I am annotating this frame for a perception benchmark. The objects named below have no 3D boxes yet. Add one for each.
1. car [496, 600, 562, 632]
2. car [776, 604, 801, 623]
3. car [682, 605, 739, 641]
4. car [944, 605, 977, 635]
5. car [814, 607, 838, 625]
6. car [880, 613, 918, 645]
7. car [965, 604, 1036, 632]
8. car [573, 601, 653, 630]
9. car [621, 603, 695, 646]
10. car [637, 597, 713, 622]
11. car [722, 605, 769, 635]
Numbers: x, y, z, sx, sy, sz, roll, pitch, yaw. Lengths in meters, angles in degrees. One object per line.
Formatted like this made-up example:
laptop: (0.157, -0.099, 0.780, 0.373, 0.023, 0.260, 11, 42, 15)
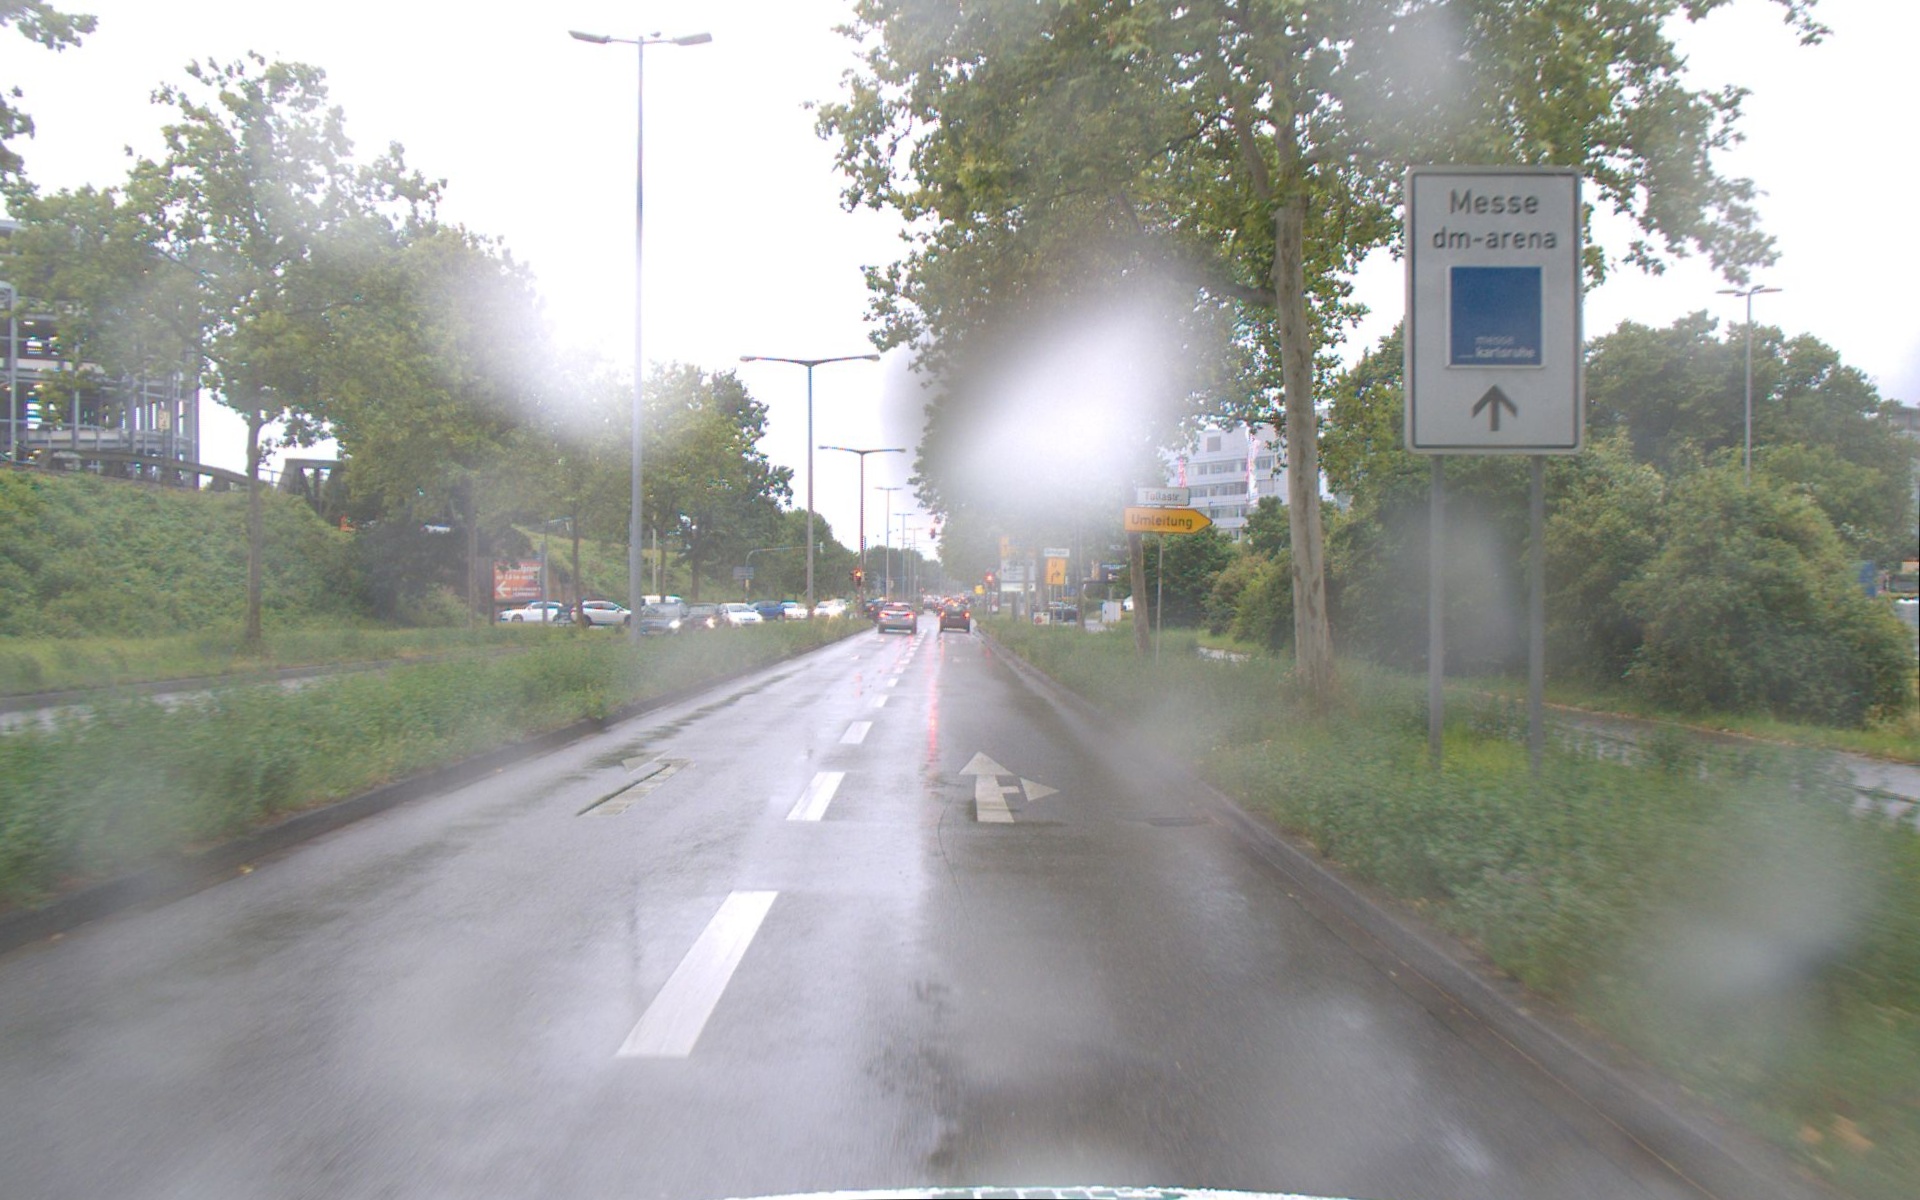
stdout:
car: (-27.876, 1.030, 106.939, 3.931, 1.878, 1.987, 2, -1, -22)
car: (-14.274, 1.143, 137.809, 1.677, 1.557, 3.999, 0, 0, 0)
car: (-10.696, 0.977, 71.085, 1.891, 1.470, 3.706, 1, 0, -1)
car: (0.011, 1.079, 91.141, 1.759, 1.564, 4.386, 2, -1, 0)
car: (-11.274, 1.342, 139.038, 1.677, 1.557, 3.999, 0, 0, 0)
car: (-2.936, 1.384, 80.633, 1.655, 1.458, 4.573, 1, -1, 0)
car: (2.516, 1.099, 101.956, 4.347, 1.564, 1.776, -2, 2, -40)
car: (-19.749, 0.878, 94.256, 4.425, 1.617, 1.857, 0, -1, -13)
car: (-10.950, 0.883, 60.284, 1.891, 1.470, 4.495, 1, 0, -1)
car: (-17.572, 0.596, 102.114, 4.326, 1.564, 1.784, 0, -1, -30)
car: (-11.262, 1.039, 86.949, 1.891, 1.470, 4.656, 1, 0, -1)
